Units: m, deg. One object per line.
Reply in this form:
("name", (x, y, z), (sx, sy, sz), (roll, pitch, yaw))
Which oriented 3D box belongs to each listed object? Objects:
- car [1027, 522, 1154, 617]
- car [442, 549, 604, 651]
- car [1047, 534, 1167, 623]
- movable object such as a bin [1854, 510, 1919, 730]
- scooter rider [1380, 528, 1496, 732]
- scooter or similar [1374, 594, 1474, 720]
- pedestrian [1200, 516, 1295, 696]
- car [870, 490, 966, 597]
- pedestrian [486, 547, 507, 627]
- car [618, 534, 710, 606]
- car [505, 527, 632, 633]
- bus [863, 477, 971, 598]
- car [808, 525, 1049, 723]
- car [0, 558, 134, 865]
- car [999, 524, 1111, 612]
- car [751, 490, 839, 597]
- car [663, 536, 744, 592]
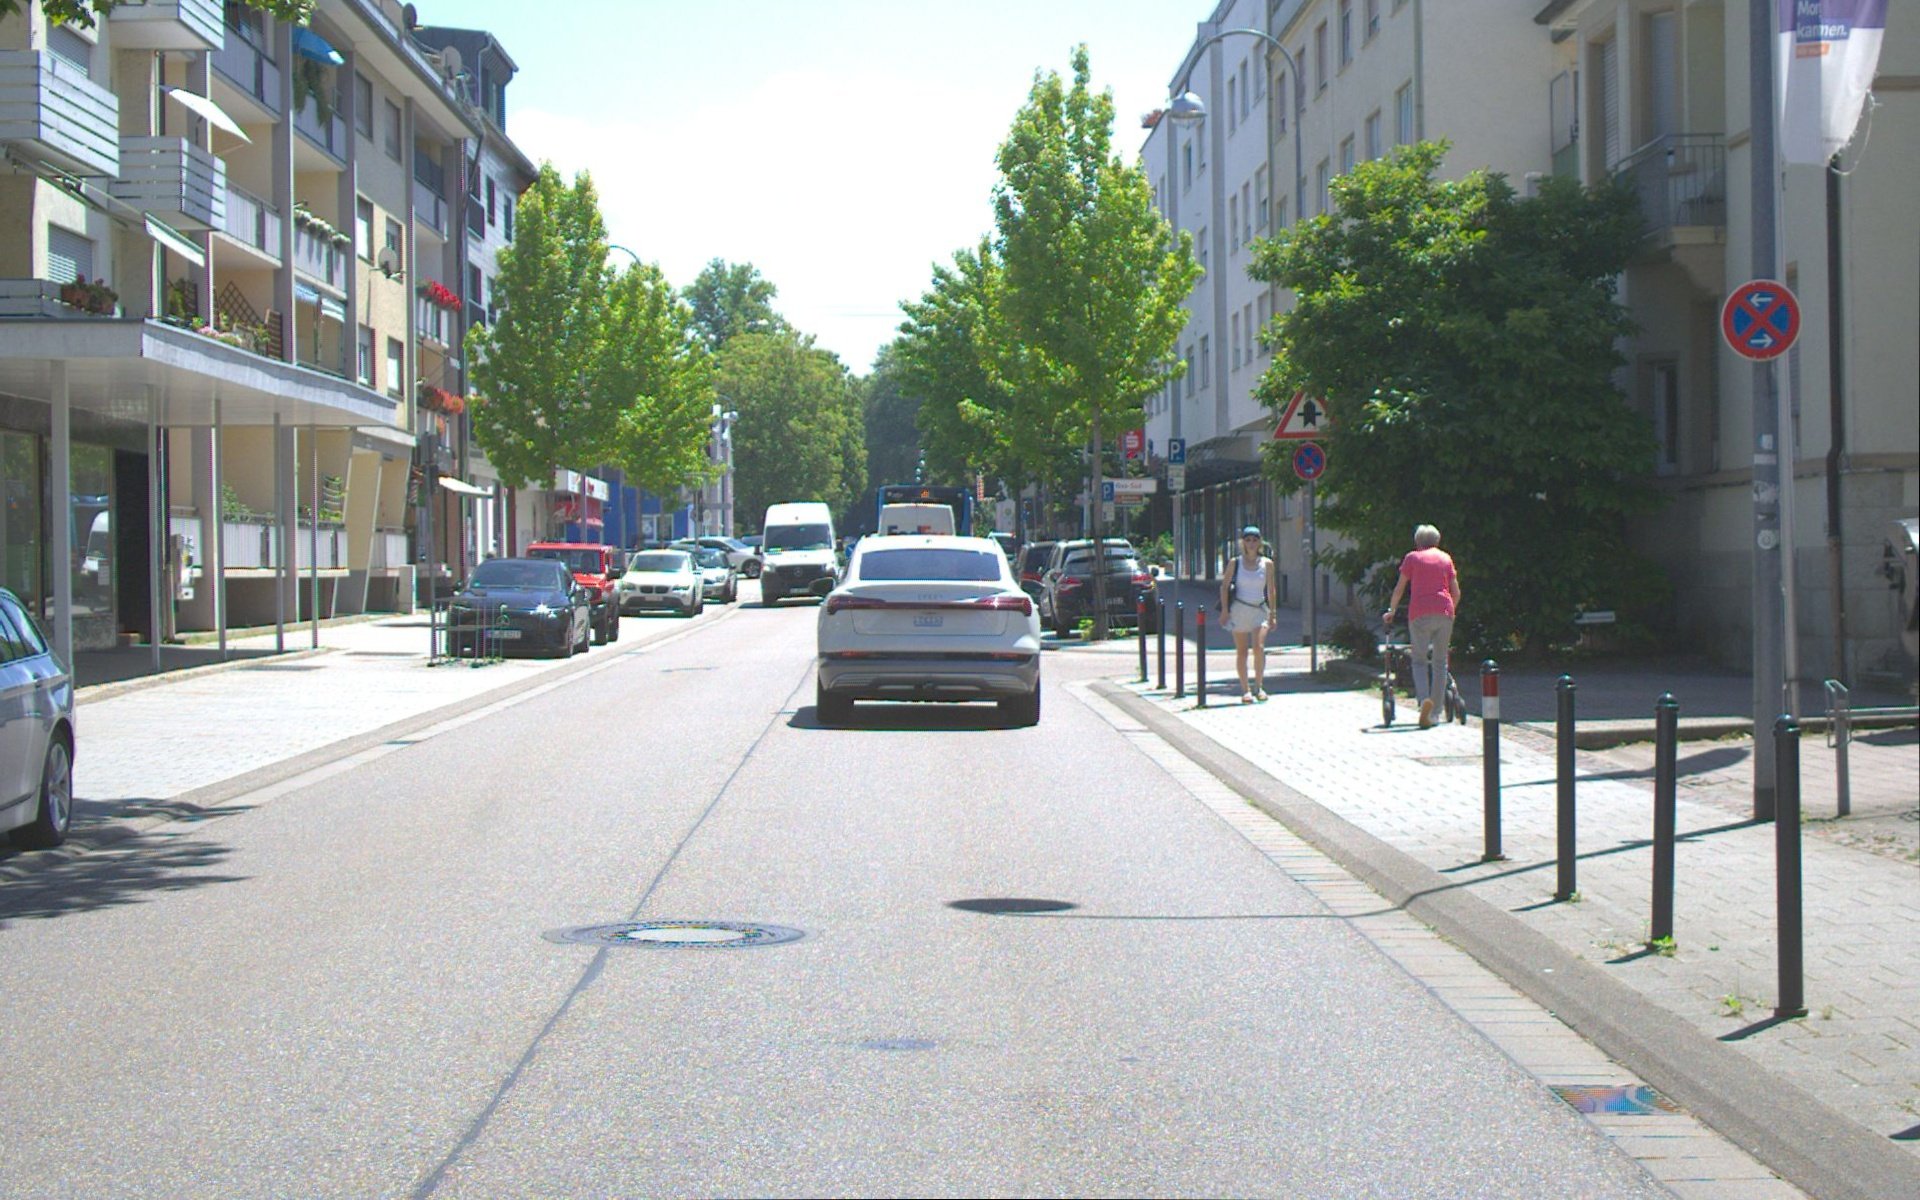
("car", (2.436, -0.601, 65.396), (1.896, 1.669, 4.691), (-2, 1, -3))
("car", (-6.556, -0.033, 52.000), (1.896, 1.412, 5.048), (1, 1, -1))
("car", (2.495, -0.399, 59.257), (1.896, 1.433, 4.544), (-1, 1, 1))
("movable object such as a bin", (7.034, 0.083, 23.587), (1.368, 1.453, 1.380), (-4, 1, 1))
("scooter rider", (3.716, 0.221, 26.771), (0.716, 1.543, 0.770), (-2, 1, -3))
("scooter or similar", (3.698, 0.451, 27.438), (0.663, 0.960, 0.754), (-2, 1, -1))
("pedestrian", (2.688, 0.052, 32.172), (0.700, 1.621, 0.784), (-4, 1, -2))
("car", (-1.001, -1.331, 81.749), (2.156, 2.433, 5.284), (1, 1, -1))
("pedestrian", (-10.205, -0.288, 75.710), (0.394, 1.729, 0.446), (-1, 1, -12))
("car", (-7.017, -0.735, 81.779), (1.752, 1.612, 4.401), (1, 1, 0))
("car", (-6.625, -0.370, 58.470), (1.752, 1.696, 4.102), (1, 1, -1))
("bus", (-1.156, -1.737, 96.156), (2.661, 3.210, 7.301), (1, 1, 2))
("car", (-0.334, 0.162, 30.622), (1.993, 1.627, 4.001), (1, 1, -2))
("car", (-5.598, 0.532, 16.933), (1.981, 1.447, 5.151), (0, 1, -2))
("car", (1.917, -0.679, 70.737), (1.855, 1.669, 4.538), (-2, 1, -3))
("car", (-4.343, -1.514, 91.413), (2.036, 2.621, 7.108), (-3, 1, -1))
("car", (-6.885, -0.987, 92.645), (1.752, 1.448, 4.401), (1, 1, 1))
